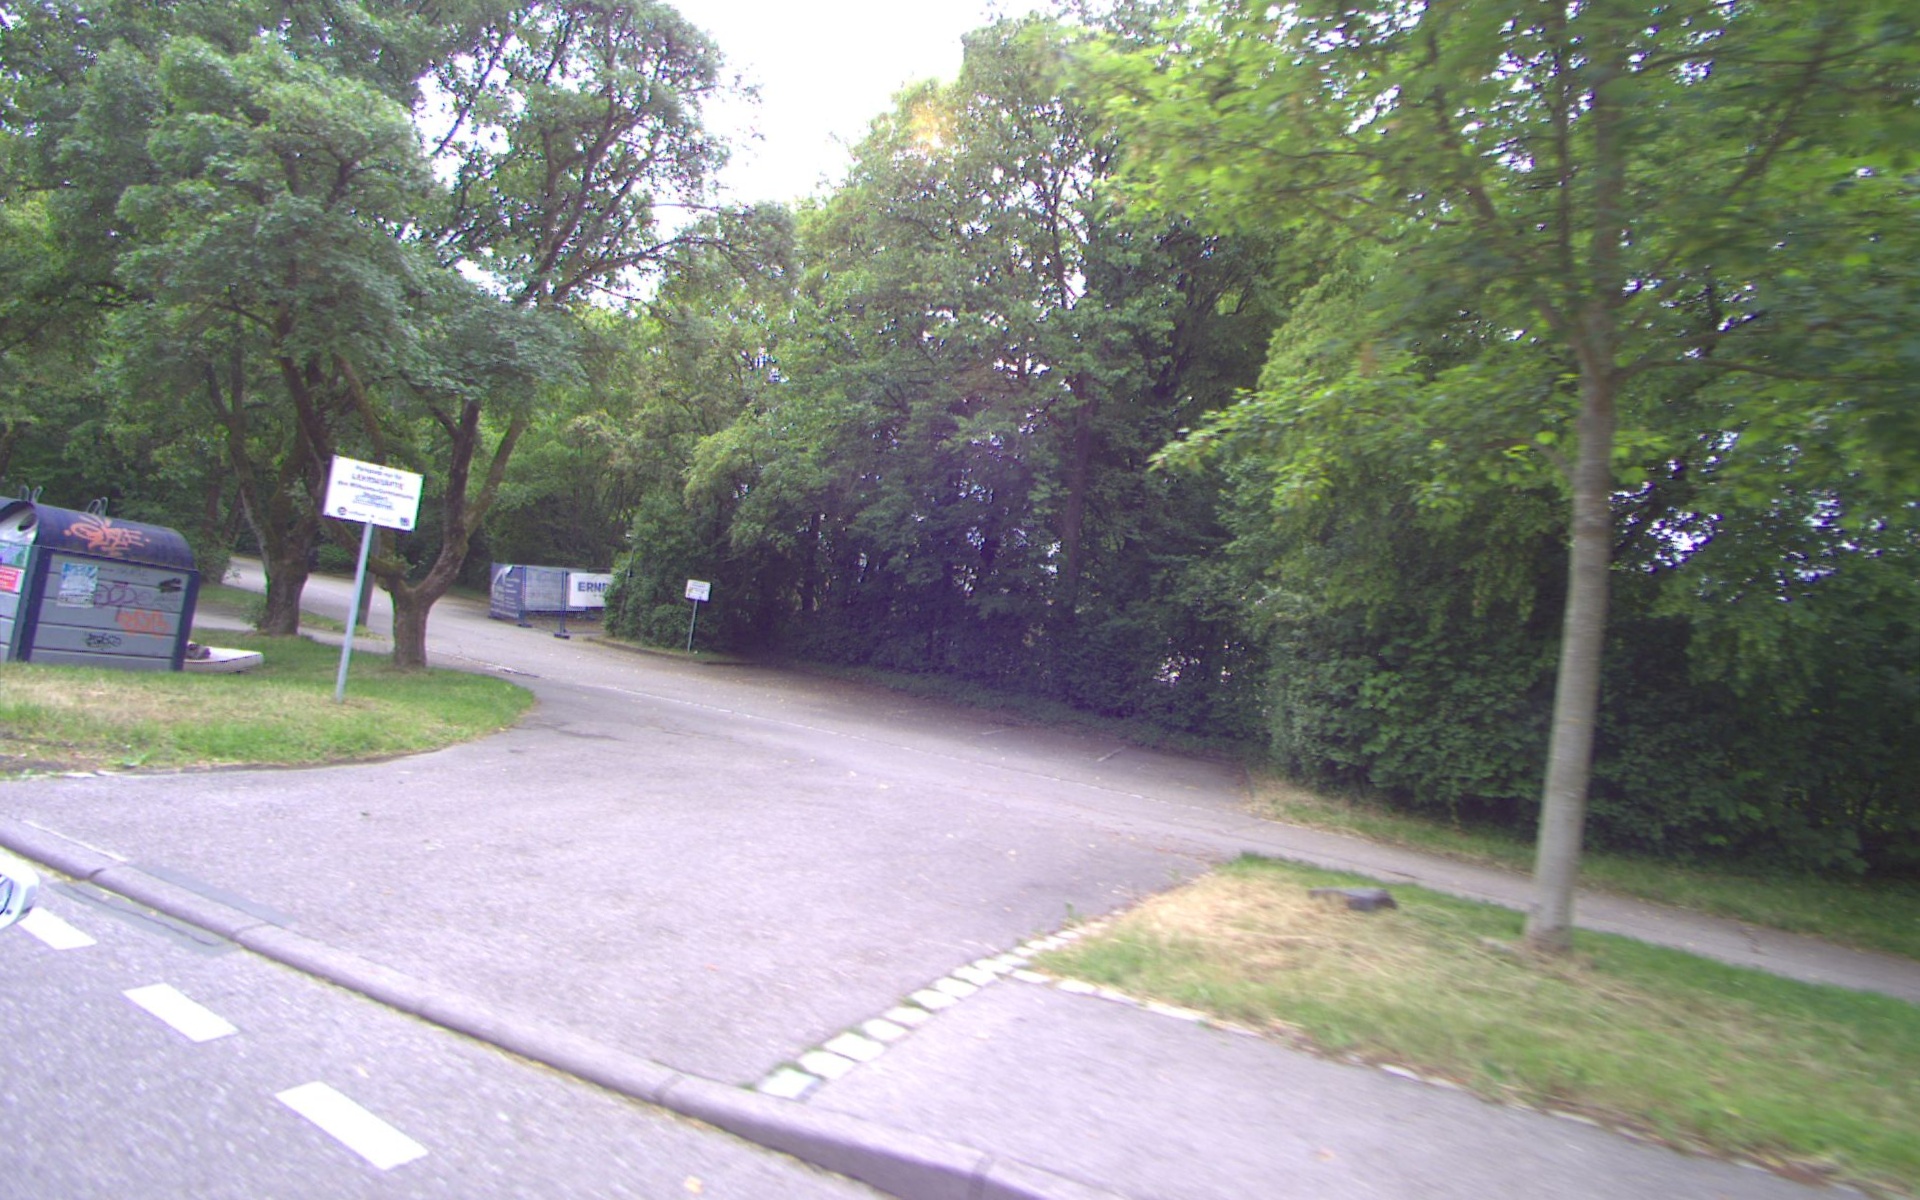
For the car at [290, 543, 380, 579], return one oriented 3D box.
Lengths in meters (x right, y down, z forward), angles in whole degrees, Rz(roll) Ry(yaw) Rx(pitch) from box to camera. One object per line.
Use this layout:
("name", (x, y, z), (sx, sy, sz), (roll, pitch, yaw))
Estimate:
("car", (-36.407, -2.273, 58.715), (1.770, 1.425, 3.996), (7, -3, 31))
